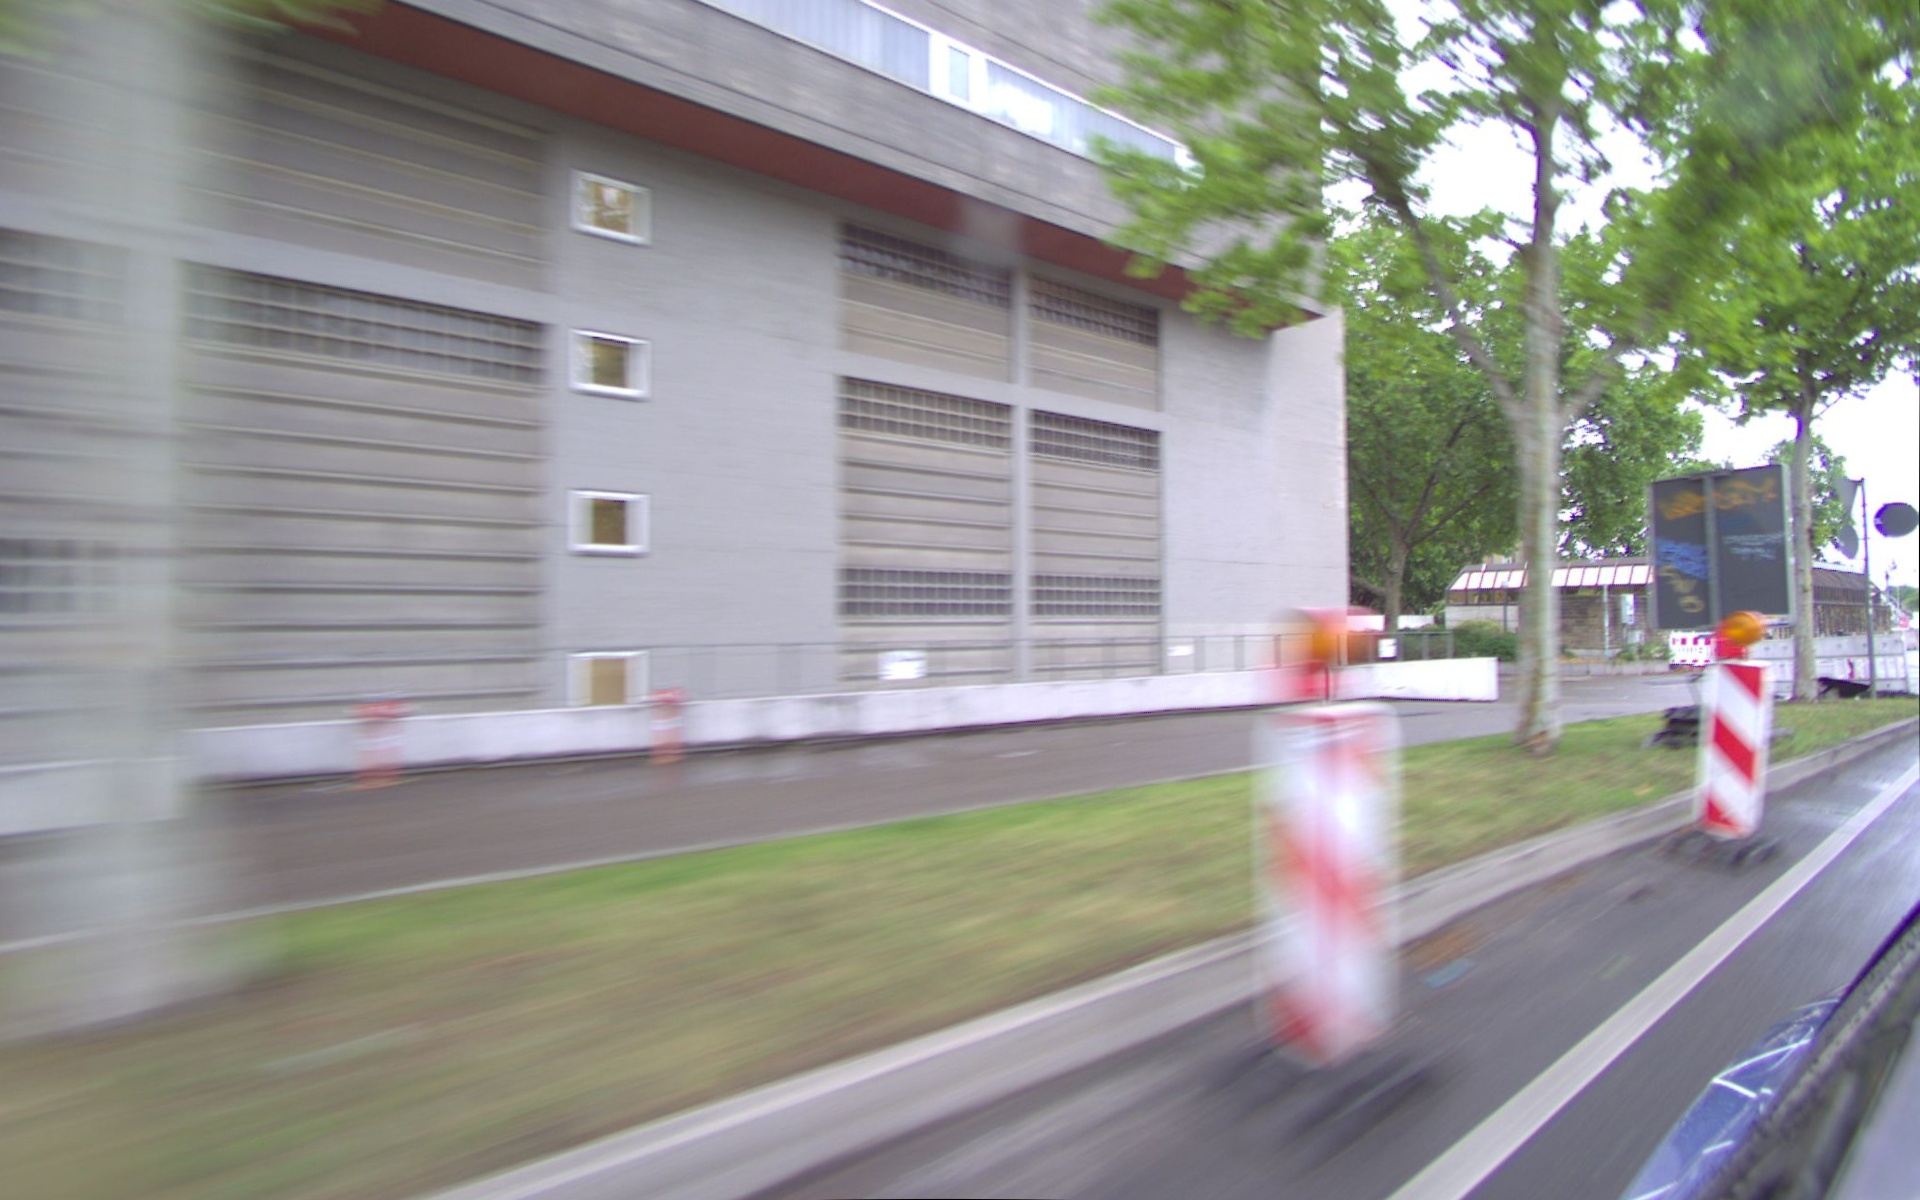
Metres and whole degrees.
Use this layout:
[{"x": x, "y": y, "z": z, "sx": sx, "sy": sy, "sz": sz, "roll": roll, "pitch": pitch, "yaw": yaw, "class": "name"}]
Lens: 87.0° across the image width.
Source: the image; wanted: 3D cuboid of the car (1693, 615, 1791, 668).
[{"x": 30.002, "y": 1.541, "z": 38.806, "sx": 4.246, "sy": 1.570, "sz": 1.811, "roll": -3, "pitch": 5, "yaw": -36, "class": "car"}]

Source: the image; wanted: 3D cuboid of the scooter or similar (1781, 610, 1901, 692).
[{"x": 15.239, "y": 0.899, "z": 17.528, "sx": 0.608, "sy": 1.302, "sz": 1.358, "roll": -1, "pitch": -5, "yaw": -39, "class": "scooter or similar"}]
